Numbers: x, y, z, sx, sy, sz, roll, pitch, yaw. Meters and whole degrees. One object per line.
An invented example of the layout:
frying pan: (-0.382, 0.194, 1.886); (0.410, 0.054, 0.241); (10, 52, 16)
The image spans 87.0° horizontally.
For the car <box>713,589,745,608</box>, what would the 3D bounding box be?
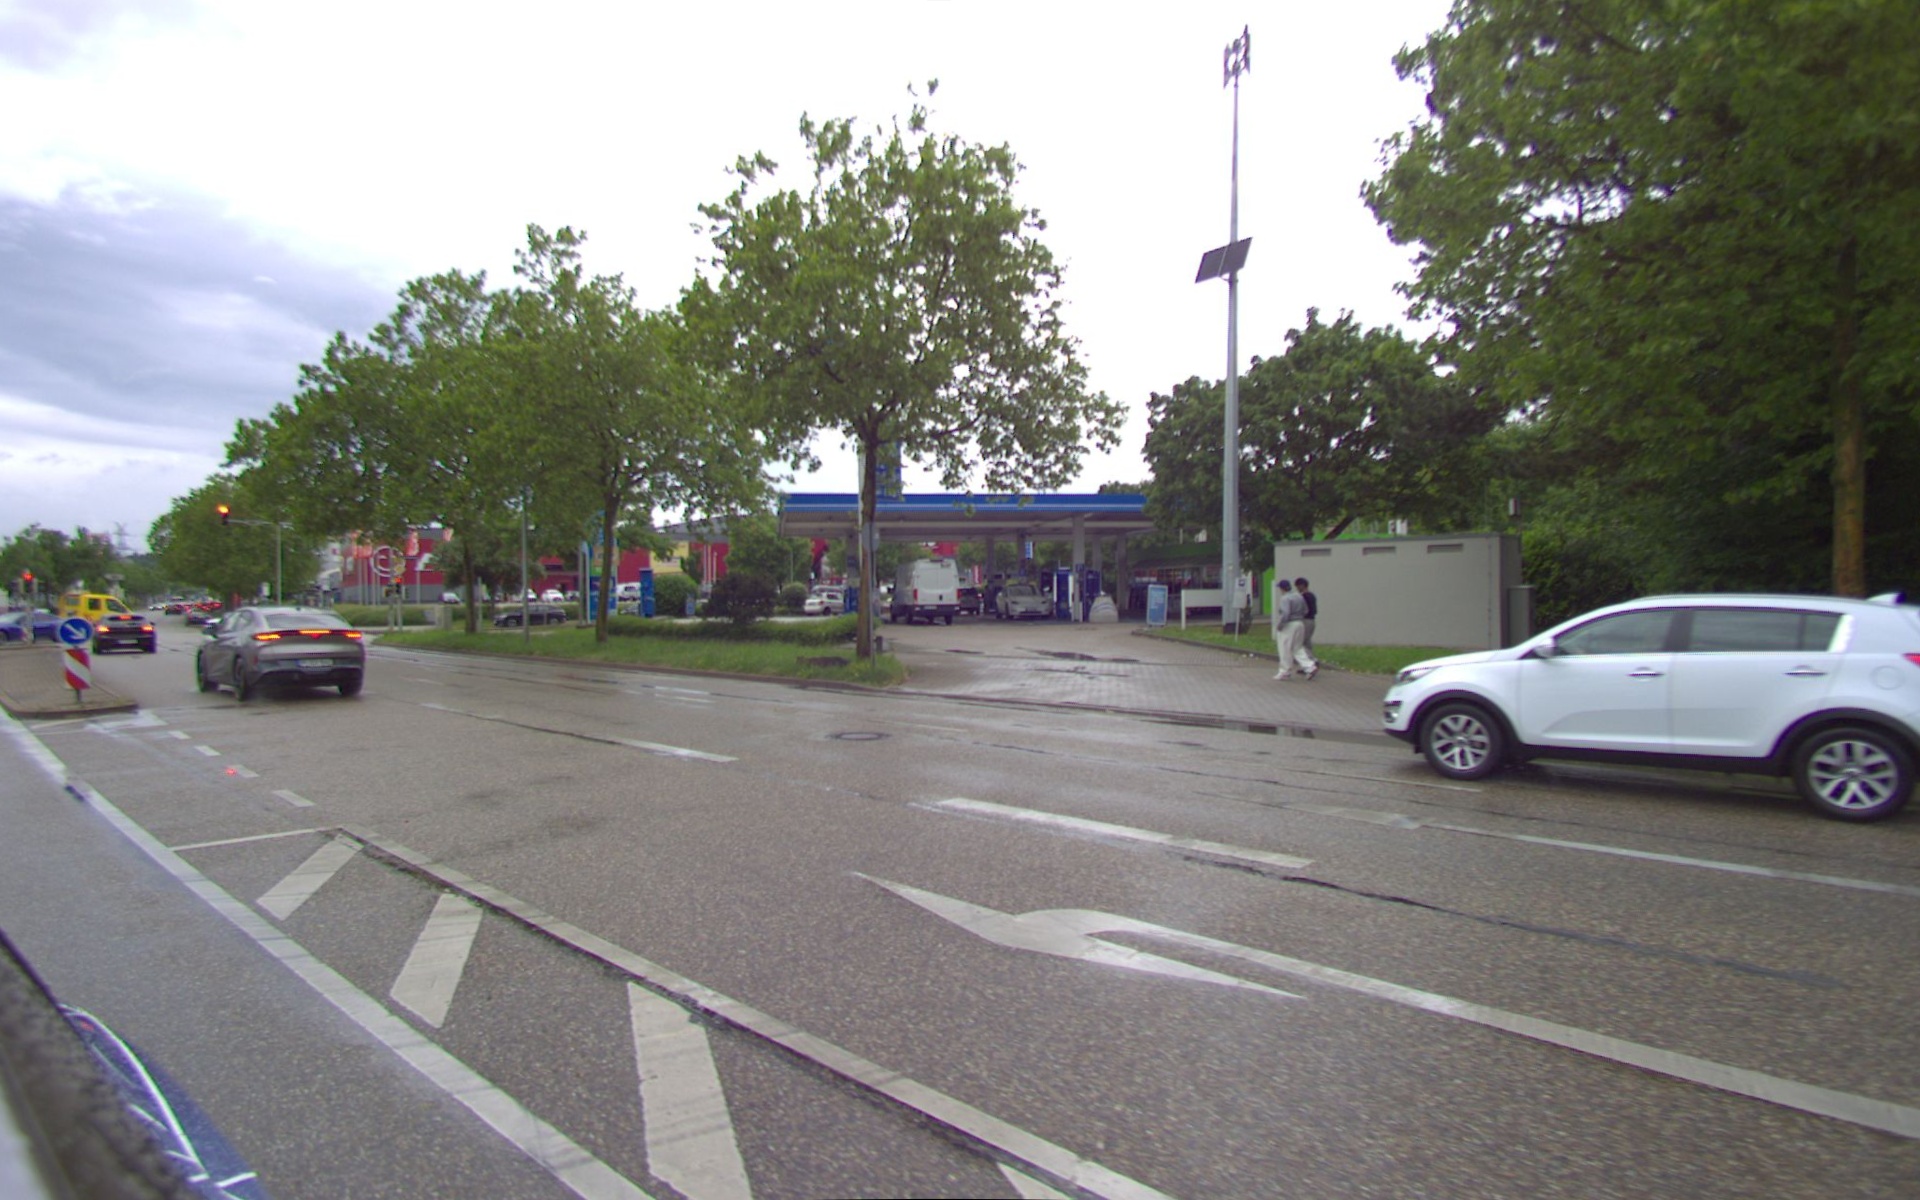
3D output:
car: (-28.475, -0.176, 124.790); (1.796, 2.321, 5.661); (0, -1, -36)

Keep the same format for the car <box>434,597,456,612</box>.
car: (-61.041, 0.538, 119.916); (1.669, 1.658, 3.972); (0, -1, -36)

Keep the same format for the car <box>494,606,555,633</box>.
car: (-29.384, 1.273, 68.345); (3.483, 1.709, 1.605); (-1, 0, -39)

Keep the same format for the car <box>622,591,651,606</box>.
car: (-32.816, -0.120, 102.522); (1.645, 1.391, 3.918); (0, -1, -36)

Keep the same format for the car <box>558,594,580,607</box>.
car: (-51.289, 0.103, 132.696); (1.669, 1.658, 3.972); (0, -1, -36)

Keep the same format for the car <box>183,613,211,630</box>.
car: (-64.099, 1.779, 85.053); (1.759, 1.415, 4.009); (0, -1, -36)

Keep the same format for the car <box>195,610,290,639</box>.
car: (-40.317, 1.371, 56.914); (1.896, 1.565, 3.956); (0, -1, 32)

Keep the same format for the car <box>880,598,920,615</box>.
car: (-5.850, 0.675, 98.230); (1.658, 1.621, 4.293); (0, -1, -40)

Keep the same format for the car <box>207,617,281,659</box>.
car: (-27.944, 1.446, 39.424); (1.968, 1.520, 4.738); (1, -1, -40)

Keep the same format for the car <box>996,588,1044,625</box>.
car: (2.709, 0.278, 46.466); (1.663, 1.594, 3.568); (0, 1, -6)

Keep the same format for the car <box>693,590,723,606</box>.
car: (-26.278, -0.183, 105.451); (1.645, 1.658, 3.836); (0, -1, -36)

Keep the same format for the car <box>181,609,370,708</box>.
car: (-12.542, 0.958, 18.428); (4.597, 1.574, 1.792); (0, -1, 42)

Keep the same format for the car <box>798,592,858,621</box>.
car: (-8.387, 0.410, 64.377); (1.810, 1.811, 3.655); (0, -1, 35)

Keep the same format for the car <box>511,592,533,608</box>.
car: (-55.911, -0.015, 129.109); (1.763, 1.940, 3.758); (0, -1, -37)

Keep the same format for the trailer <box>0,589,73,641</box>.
trailer: (-48.818, 0.808, 49.448); (2.303, 2.492, 7.887); (-3, 0, 31)

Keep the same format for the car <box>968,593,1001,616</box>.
car: (1.850, 0.369, 77.473); (1.766, 1.741, 4.008); (0, -1, -10)

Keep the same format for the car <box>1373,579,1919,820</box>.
car: (6.078, 0.686, 8.579); (4.399, 1.631, 1.907); (0, -1, 43)

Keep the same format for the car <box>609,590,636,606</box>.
car: (-35.347, -0.174, 105.804); (1.605, 1.658, 3.836); (0, -1, -36)

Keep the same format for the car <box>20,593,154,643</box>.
car: (-46.647, 0.925, 54.218); (2.230, 2.492, 4.981); (-3, 0, 20)

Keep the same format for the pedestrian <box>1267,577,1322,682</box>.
pedestrian: (5.814, 0.500, 17.611); (0.655, 1.780, 0.585); (-1, 0, -27)

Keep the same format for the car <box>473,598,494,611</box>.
car: (-59.721, 0.587, 126.822); (1.669, 1.658, 3.972); (0, -1, -36)

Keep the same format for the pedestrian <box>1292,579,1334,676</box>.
pedestrian: (6.340, 0.491, 18.165); (0.540, 1.695, 0.506); (-1, -2, 41)

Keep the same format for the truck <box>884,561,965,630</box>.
truck: (-1.687, -0.076, 43.962); (2.120, 2.696, 7.892); (0, -2, -12)

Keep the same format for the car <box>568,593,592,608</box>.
car: (-44.372, 0.088, 118.155); (1.645, 1.658, 3.972); (0, -1, -36)

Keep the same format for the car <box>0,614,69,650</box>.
car: (-43.826, 1.452, 46.306); (1.781, 1.645, 4.539); (0, -1, 9)

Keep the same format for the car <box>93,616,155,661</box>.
car: (-30.418, 1.360, 36.791); (1.623, 1.520, 3.899); (1, -1, -41)

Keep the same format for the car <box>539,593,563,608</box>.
car: (-47.377, 0.082, 117.150); (1.645, 1.658, 3.972); (0, -1, -36)
